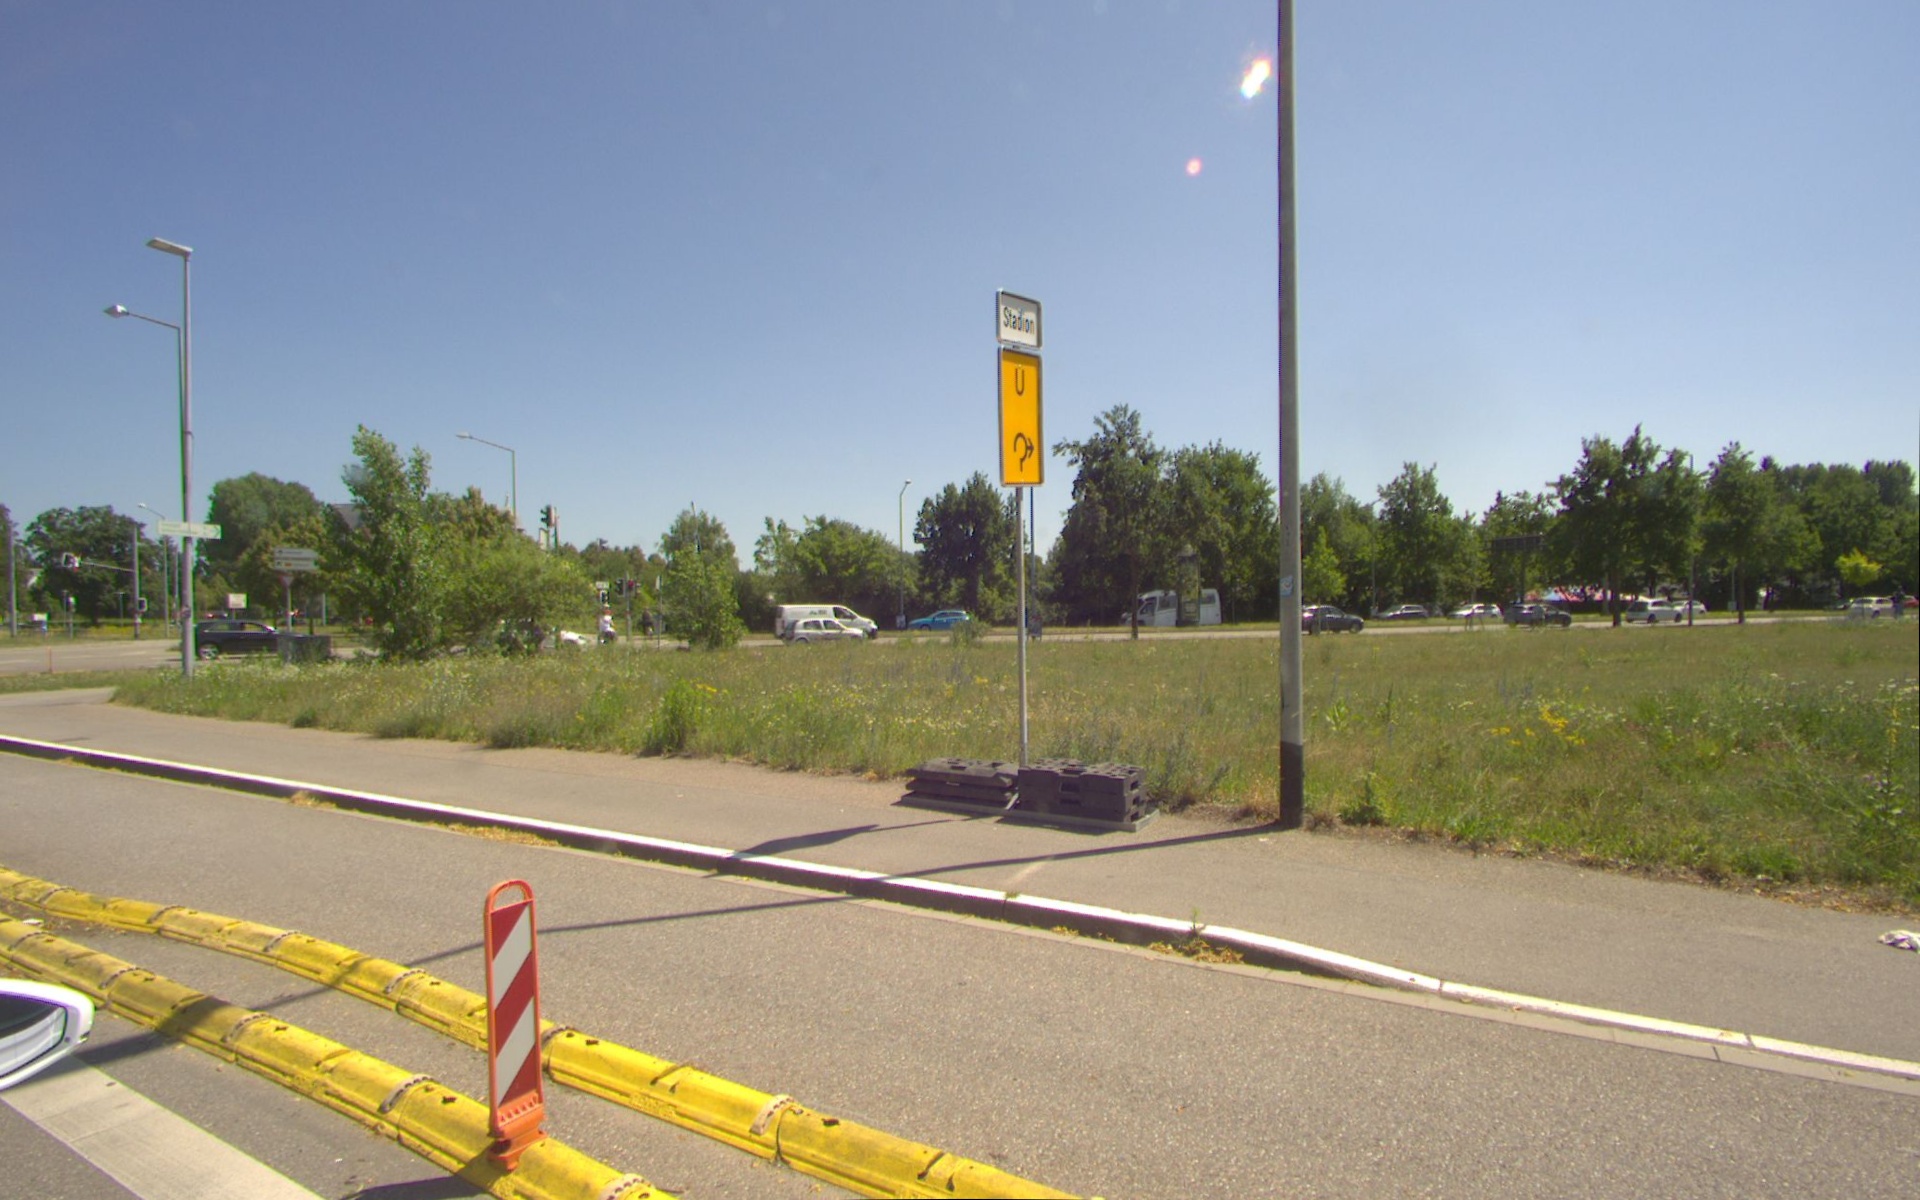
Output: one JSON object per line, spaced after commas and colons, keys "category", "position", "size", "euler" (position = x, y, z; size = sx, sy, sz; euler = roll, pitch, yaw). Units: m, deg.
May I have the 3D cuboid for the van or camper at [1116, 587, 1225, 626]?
{"category": "van or camper", "position": [15.137, 0.500, 72.137], "size": [7.376, 2.728, 2.510], "euler": [0, -1, -15]}

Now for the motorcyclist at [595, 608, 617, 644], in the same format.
{"category": "motorcyclist", "position": [-13.166, 0.966, 37.239], "size": [0.570, 1.306, 0.615], "euler": [0, 0, 3]}

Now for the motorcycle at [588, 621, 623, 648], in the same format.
{"category": "motorcycle", "position": [-13.141, 1.256, 37.194], "size": [0.619, 0.982, 1.709], "euler": [0, -1, 3]}

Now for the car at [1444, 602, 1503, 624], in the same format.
{"category": "car", "position": [40.804, 1.036, 79.658], "size": [3.928, 1.739, 1.907], "euler": [0, -1, -15]}

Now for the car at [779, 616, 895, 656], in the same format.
{"category": "car", "position": [-5.560, 1.597, 45.186], "size": [4.855, 1.727, 1.995], "euler": [0, -1, -20]}

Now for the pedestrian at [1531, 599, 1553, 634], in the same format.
{"category": "pedestrian", "position": [26.329, 0.745, 45.313], "size": [0.724, 1.583, 0.497], "euler": [0, 0, -18]}

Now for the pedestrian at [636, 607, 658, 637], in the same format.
{"category": "pedestrian", "position": [-16.659, 1.168, 53.314], "size": [0.811, 1.583, 0.790], "euler": [-1, -1, 34]}

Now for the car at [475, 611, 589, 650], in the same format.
{"category": "car", "position": [-16.811, 1.190, 39.360], "size": [3.963, 1.463, 1.625], "euler": [0, -1, -29]}

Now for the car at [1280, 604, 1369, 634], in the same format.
{"category": "car", "position": [20.309, 1.073, 55.824], "size": [4.369, 1.616, 1.997], "euler": [0, -1, -17]}

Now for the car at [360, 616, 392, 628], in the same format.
{"category": "car", "position": [-87.479, 3.267, 149.968], "size": [1.963, 1.736, 3.997], "euler": [0, -1, 14]}

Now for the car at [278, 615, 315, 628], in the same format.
{"category": "car", "position": [-90.480, 2.966, 136.609], "size": [1.964, 1.736, 3.995], "euler": [0, -1, 16]}

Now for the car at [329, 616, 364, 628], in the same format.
{"category": "car", "position": [-88.269, 3.135, 144.182], "size": [1.964, 1.736, 3.995], "euler": [0, -1, 16]}

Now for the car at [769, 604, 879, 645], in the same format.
{"category": "car", "position": [-6.496, 1.157, 47.923], "size": [4.903, 1.874, 1.995], "euler": [0, -1, -21]}

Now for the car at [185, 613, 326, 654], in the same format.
{"category": "car", "position": [-26.174, 1.222, 37.260], "size": [4.156, 1.460, 1.983], "euler": [1, -1, -41]}

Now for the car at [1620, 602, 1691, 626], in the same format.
{"category": "car", "position": [45.718, 0.912, 65.846], "size": [3.928, 1.572, 1.738], "euler": [0, -1, -16]}

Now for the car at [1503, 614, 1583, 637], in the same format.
{"category": "car", "position": [35.555, 1.549, 61.110], "size": [4.131, 1.409, 1.899], "euler": [0, -1, -15]}

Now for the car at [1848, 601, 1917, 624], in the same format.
{"category": "car", "position": [63.366, 0.860, 68.792], "size": [3.928, 1.572, 1.738], "euler": [0, -1, -16]}

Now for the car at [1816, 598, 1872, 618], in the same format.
{"category": "car", "position": [81.144, 0.733, 91.911], "size": [3.928, 1.839, 1.997], "euler": [0, -1, -15]}

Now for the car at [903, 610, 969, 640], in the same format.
{"category": "car", "position": [-1.548, 1.594, 64.012], "size": [3.927, 1.861, 1.998], "euler": [0, -1, -15]}

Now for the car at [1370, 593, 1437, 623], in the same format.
{"category": "car", "position": [30.862, 0.551, 69.690], "size": [3.929, 2.040, 1.997], "euler": [0, -1, -17]}

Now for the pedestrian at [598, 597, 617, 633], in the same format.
{"category": "pedestrian", "position": [-18.706, 0.807, 53.112], "size": [0.726, 1.894, 0.648], "euler": [0, 0, 34]}

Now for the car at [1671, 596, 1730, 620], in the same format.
{"category": "car", "position": [62.867, 0.701, 85.007], "size": [3.928, 2.040, 1.997], "euler": [0, -1, -15]}

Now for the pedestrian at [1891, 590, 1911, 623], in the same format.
{"category": "pedestrian", "position": [49.623, 0.342, 52.808], "size": [0.724, 1.712, 0.497], "euler": [0, 0, -18]}
